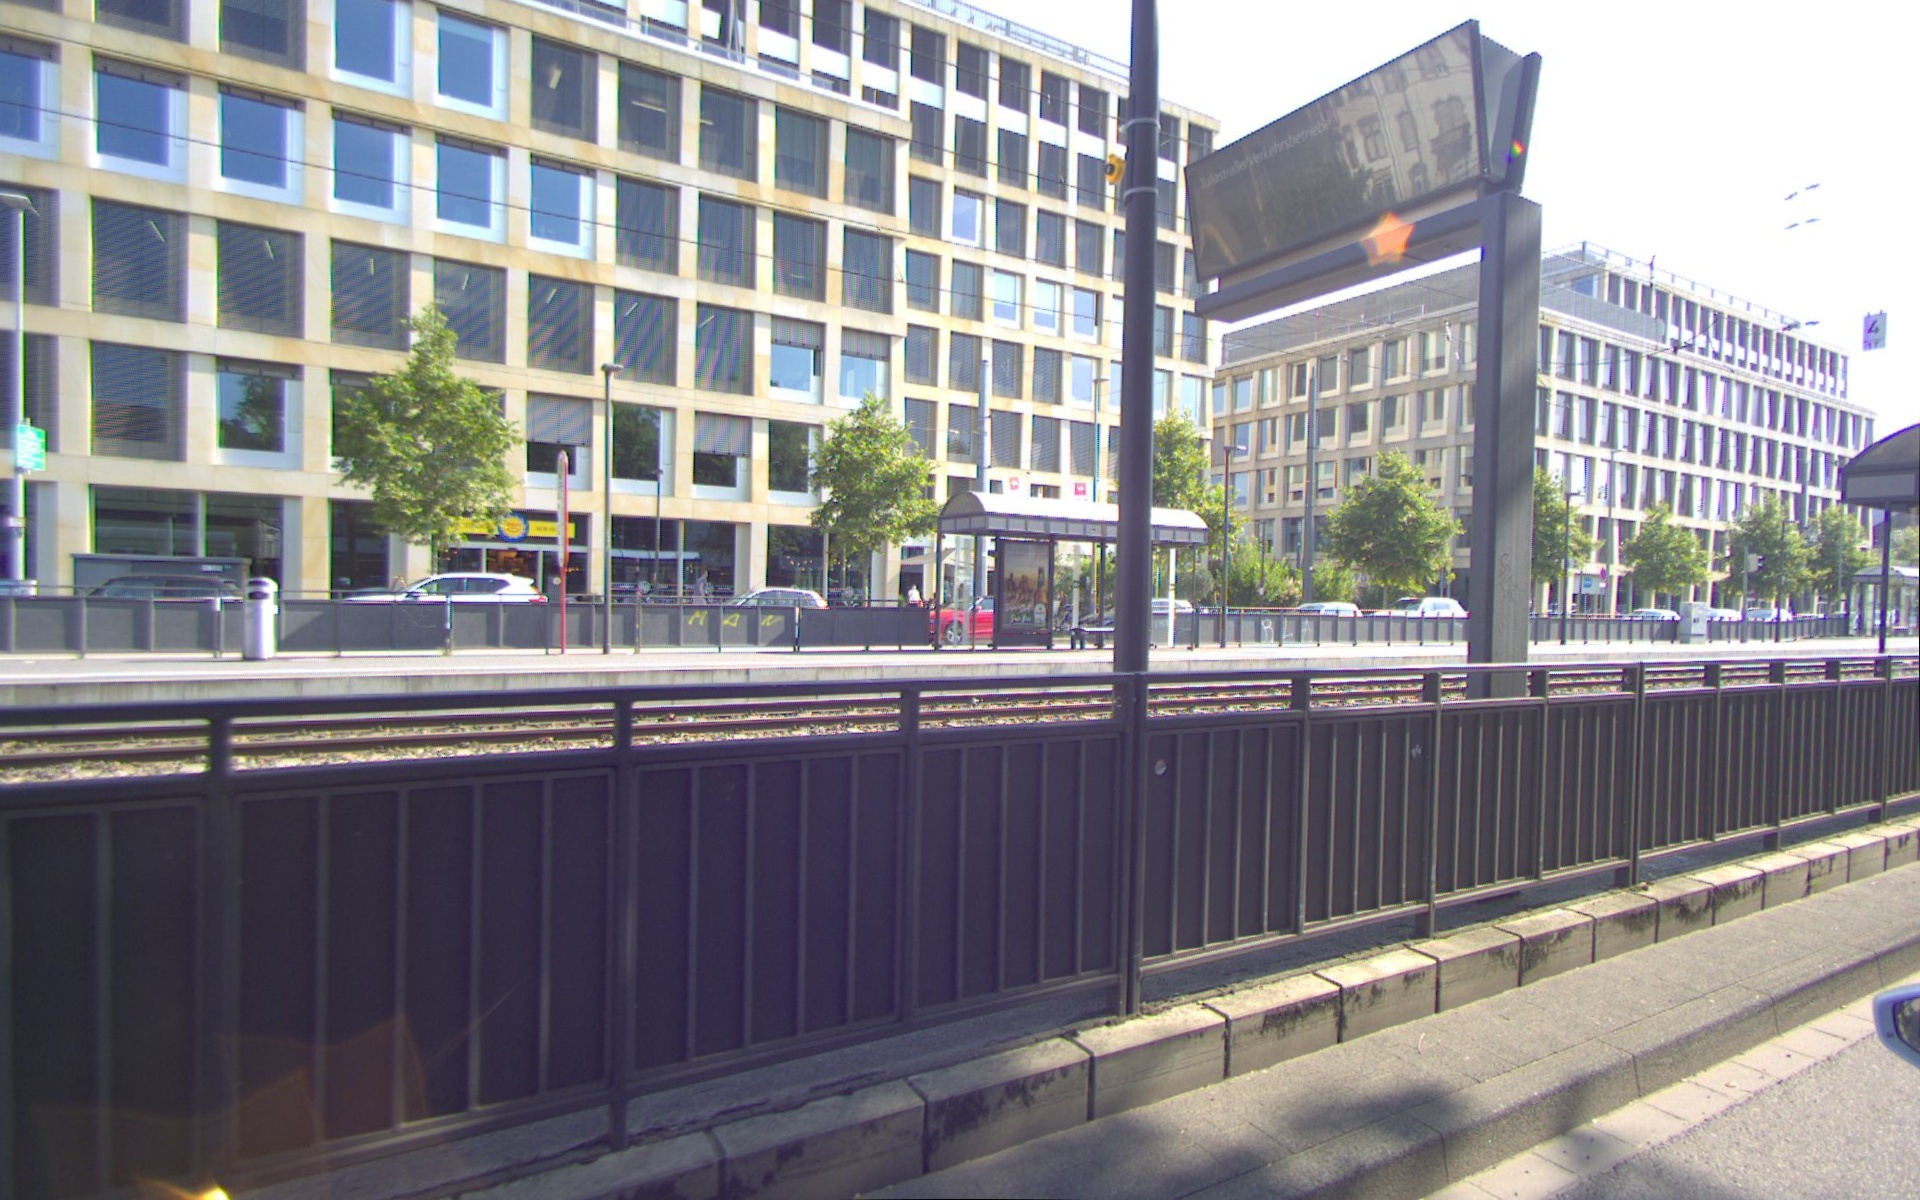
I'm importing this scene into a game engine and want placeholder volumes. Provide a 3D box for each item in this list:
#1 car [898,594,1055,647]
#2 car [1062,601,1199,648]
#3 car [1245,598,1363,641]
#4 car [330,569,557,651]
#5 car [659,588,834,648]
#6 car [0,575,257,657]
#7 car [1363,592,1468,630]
[{"bbox_3d":[0.519,0.569,28.957,4.324,1.426,1.674,1,0,-32],"label":"car"},{"bbox_3d":[5.488,0.768,32.195,4.324,1.426,1.674,1,0,-32],"label":"car"},{"bbox_3d":[12.382,0.693,36.080,4.324,1.426,1.674,1,0,-32],"label":"car"},{"bbox_3d":[-11.269,0.225,22.019,4.274,1.647,1.779,1,0,-34],"label":"car"},{"bbox_3d":[-5.377,0.444,25.395,3.955,1.426,1.780,1,0,-32],"label":"car"},{"bbox_3d":[-15.841,0.293,19.055,3.955,1.422,1.891,1,0,-32],"label":"car"},{"bbox_3d":[18.048,0.446,39.757,4.322,1.426,1.674,1,0,-32],"label":"car"}]
